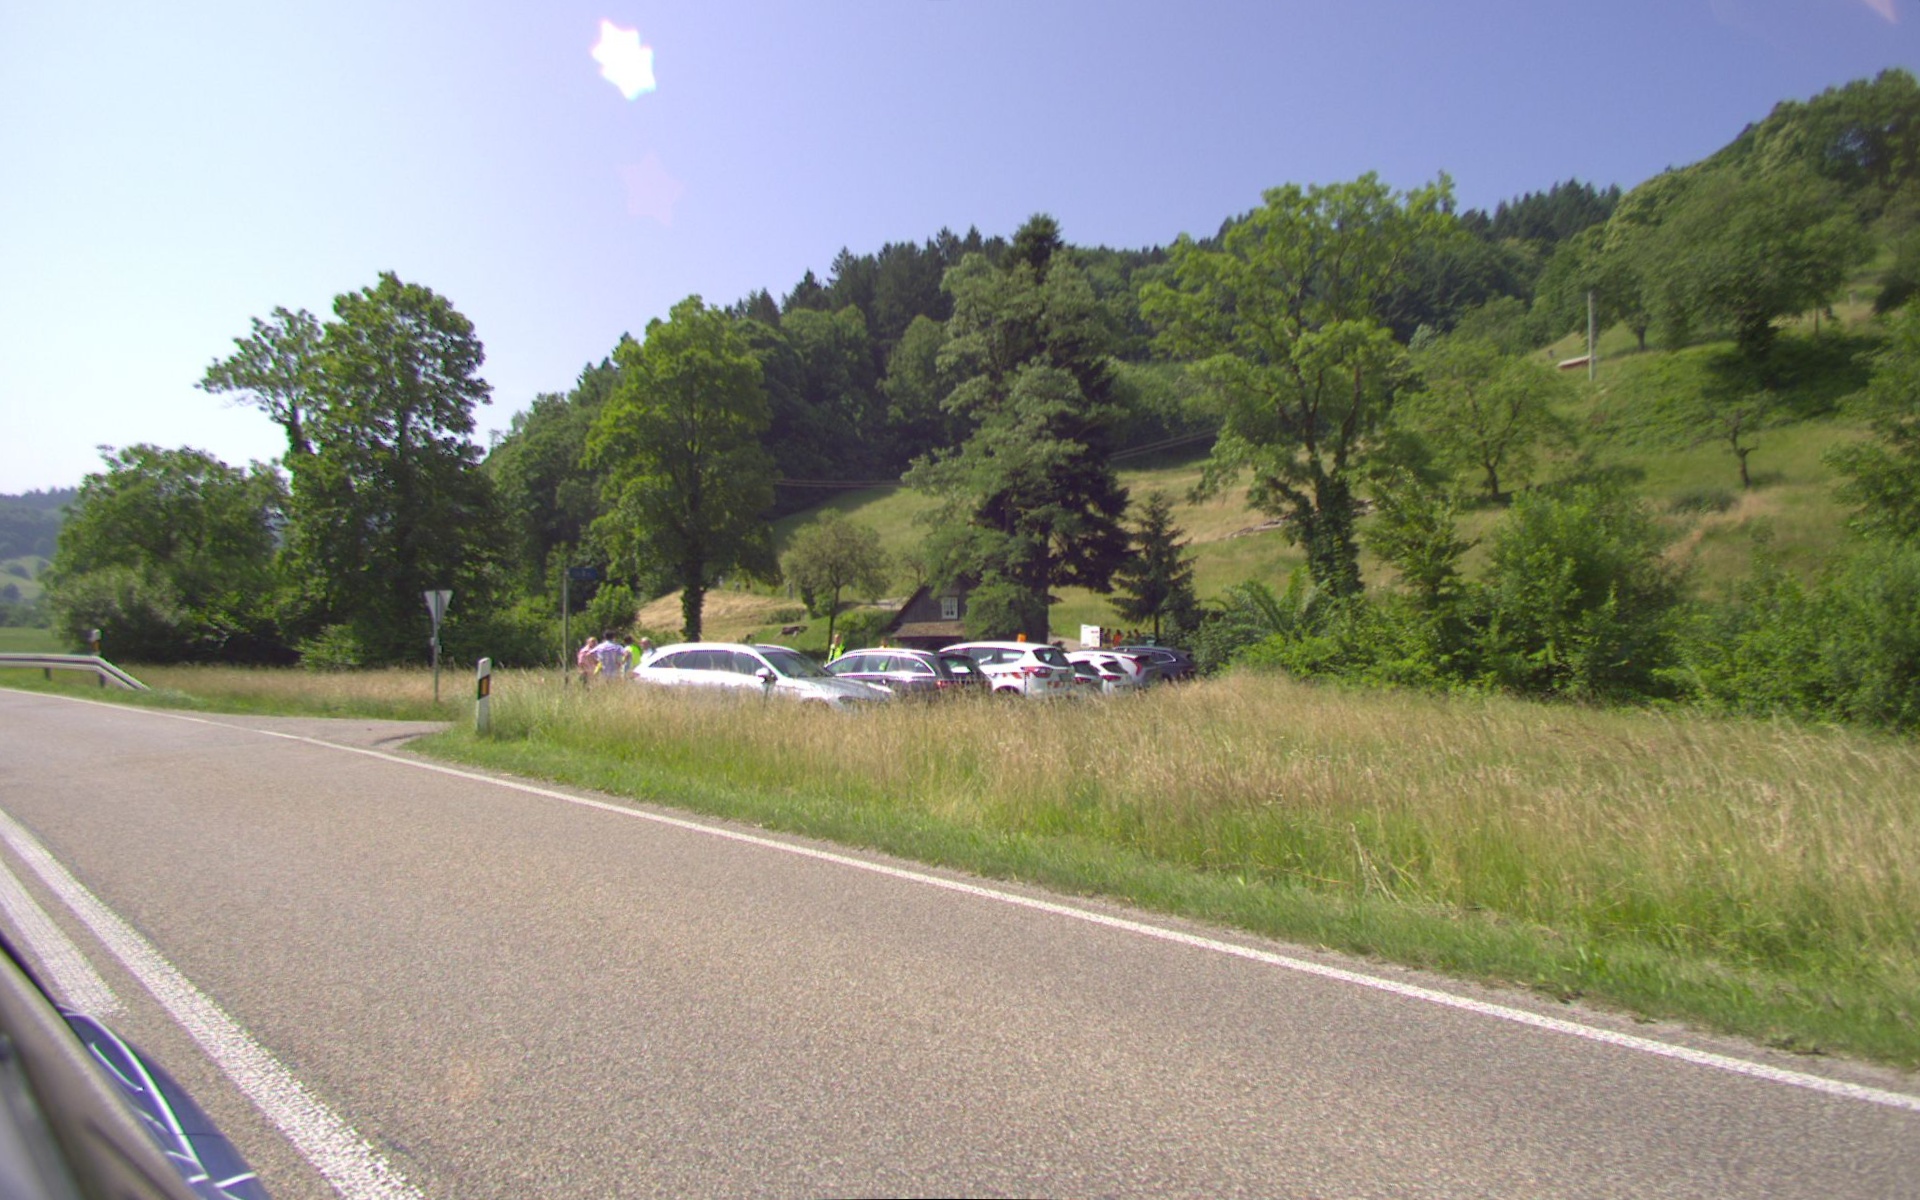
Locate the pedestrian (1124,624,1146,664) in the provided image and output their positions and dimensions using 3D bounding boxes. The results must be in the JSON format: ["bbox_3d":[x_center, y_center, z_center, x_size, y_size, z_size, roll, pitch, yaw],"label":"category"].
[{"bbox_3d":[8.816,2.222,51.016,0.927,2.029,0.695,0,-4,25],"label":"pedestrian"}]

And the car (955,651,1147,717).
[{"bbox_3d":[2.322,2.118,25.985,4.500,1.512,1.981,-1,-4,28],"label":"car"}]

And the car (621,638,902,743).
[{"bbox_3d":[-3.227,1.479,16.348,4.258,1.512,1.814,-3,-7,29],"label":"car"}]

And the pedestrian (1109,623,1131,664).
[{"bbox_3d":[7.888,2.146,50.026,0.689,2.029,0.935,2,-3,-18],"label":"pedestrian"}]

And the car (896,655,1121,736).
[{"bbox_3d":[1.099,2.152,23.620,4.882,1.654,1.980,-1,-4,30],"label":"car"}]

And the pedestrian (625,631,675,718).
[{"bbox_3d":[-6.666,1.591,21.739,0.758,1.810,0.796,4,-5,-33],"label":"pedestrian"}]

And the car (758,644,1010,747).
[{"bbox_3d":[-1.506,1.715,19.051,4.616,1.664,1.974,-1,-5,39],"label":"car"}]

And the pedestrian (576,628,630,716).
[{"bbox_3d":[-7.701,1.549,21.849,0.698,1.857,0.780,-3,-5,40],"label":"pedestrian"}]

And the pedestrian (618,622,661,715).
[{"bbox_3d":[-6.592,1.404,20.809,0.638,1.854,0.773,3,-4,-27],"label":"pedestrian"}]

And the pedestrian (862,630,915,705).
[{"bbox_3d":[-1.924,1.826,27.418,0.861,1.984,1.114,-2,-5,39],"label":"pedestrian"}]

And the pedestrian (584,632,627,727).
[{"bbox_3d":[-7.171,1.598,20.473,0.638,1.873,0.773,3,-4,-27],"label":"pedestrian"}]

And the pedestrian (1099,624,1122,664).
[{"bbox_3d":[7.626,2.224,51.293,0.929,2.029,0.694,-1,-4,31],"label":"pedestrian"}]

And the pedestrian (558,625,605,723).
[{"bbox_3d":[-7.782,1.520,20.813,0.529,1.970,0.658,-1,-4,20],"label":"pedestrian"}]

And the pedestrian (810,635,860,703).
[{"bbox_3d":[-3.377,1.870,27.486,0.993,1.808,0.950,-1,-4,21],"label":"pedestrian"}]

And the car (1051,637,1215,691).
[{"bbox_3d":[5.197,1.903,30.447,4.500,1.512,1.981,-1,-4,28],"label":"car"}]

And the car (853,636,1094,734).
[{"bbox_3d":[0.223,1.666,20.905,4.758,1.796,1.856,-1,-3,33],"label":"car"}]

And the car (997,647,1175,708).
[{"bbox_3d":[3.478,2.086,28.030,4.500,1.512,1.981,-1,-2,28],"label":"car"}]
